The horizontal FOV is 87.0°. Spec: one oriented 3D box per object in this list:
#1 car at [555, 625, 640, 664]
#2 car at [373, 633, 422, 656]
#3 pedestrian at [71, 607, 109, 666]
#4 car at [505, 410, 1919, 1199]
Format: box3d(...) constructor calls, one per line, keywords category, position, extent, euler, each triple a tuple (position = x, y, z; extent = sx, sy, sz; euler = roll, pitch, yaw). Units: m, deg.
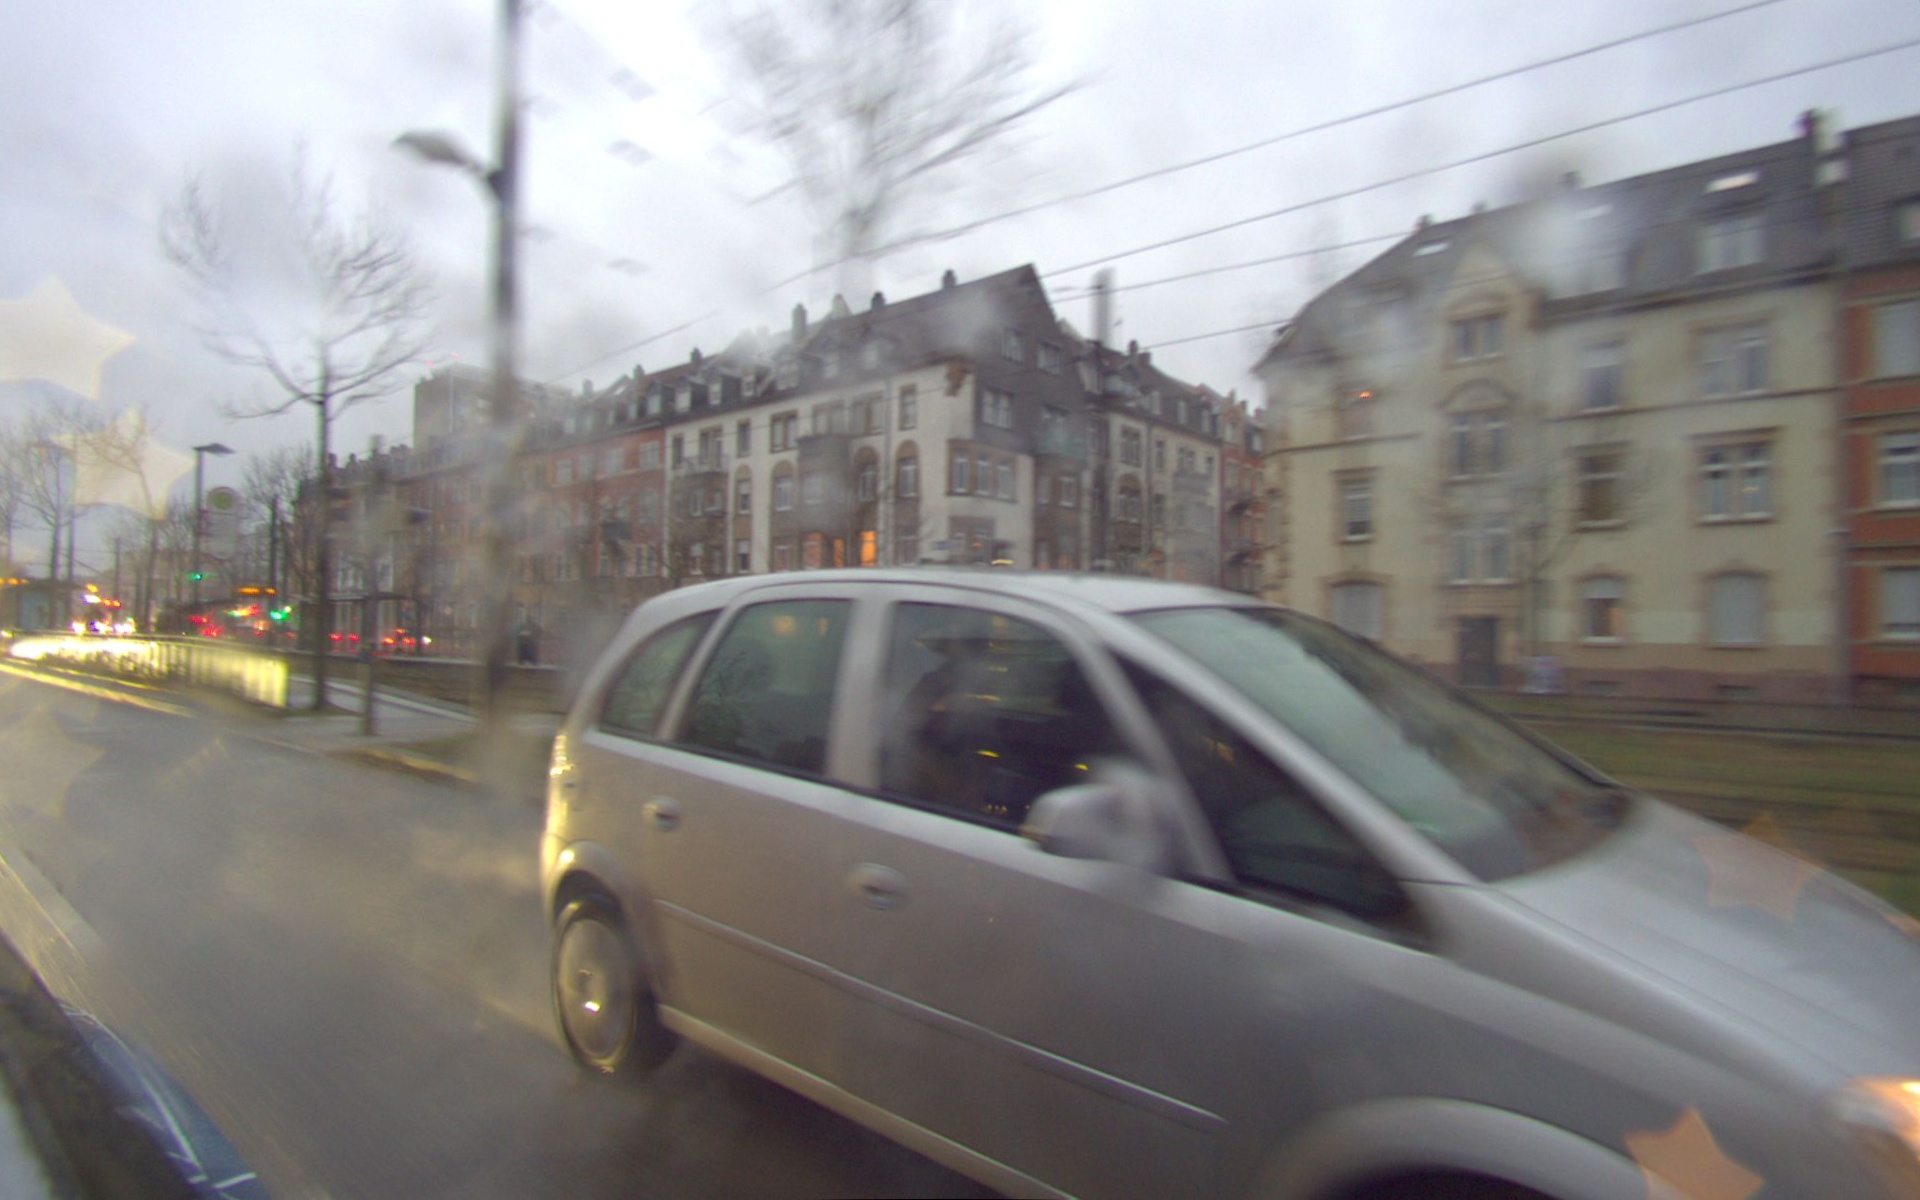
box3d(category="car", position=(-16.070, 1.936, 44.744), extent=(3.998, 1.650, 1.845), euler=(-1, -1, 41))
box3d(category="car", position=(-35.593, 2.814, 64.001), extent=(3.258, 1.418, 1.661), euler=(-1, -3, 41))
box3d(category="pedestrian", position=(-30.927, 1.307, 35.987), extent=(0.864, 2.029, 0.932), euler=(4, -4, -38))
box3d(category="car", position=(0.568, 0.620, 2.839), extent=(4.050, 1.612, 1.791), euler=(-1, -2, 40))
